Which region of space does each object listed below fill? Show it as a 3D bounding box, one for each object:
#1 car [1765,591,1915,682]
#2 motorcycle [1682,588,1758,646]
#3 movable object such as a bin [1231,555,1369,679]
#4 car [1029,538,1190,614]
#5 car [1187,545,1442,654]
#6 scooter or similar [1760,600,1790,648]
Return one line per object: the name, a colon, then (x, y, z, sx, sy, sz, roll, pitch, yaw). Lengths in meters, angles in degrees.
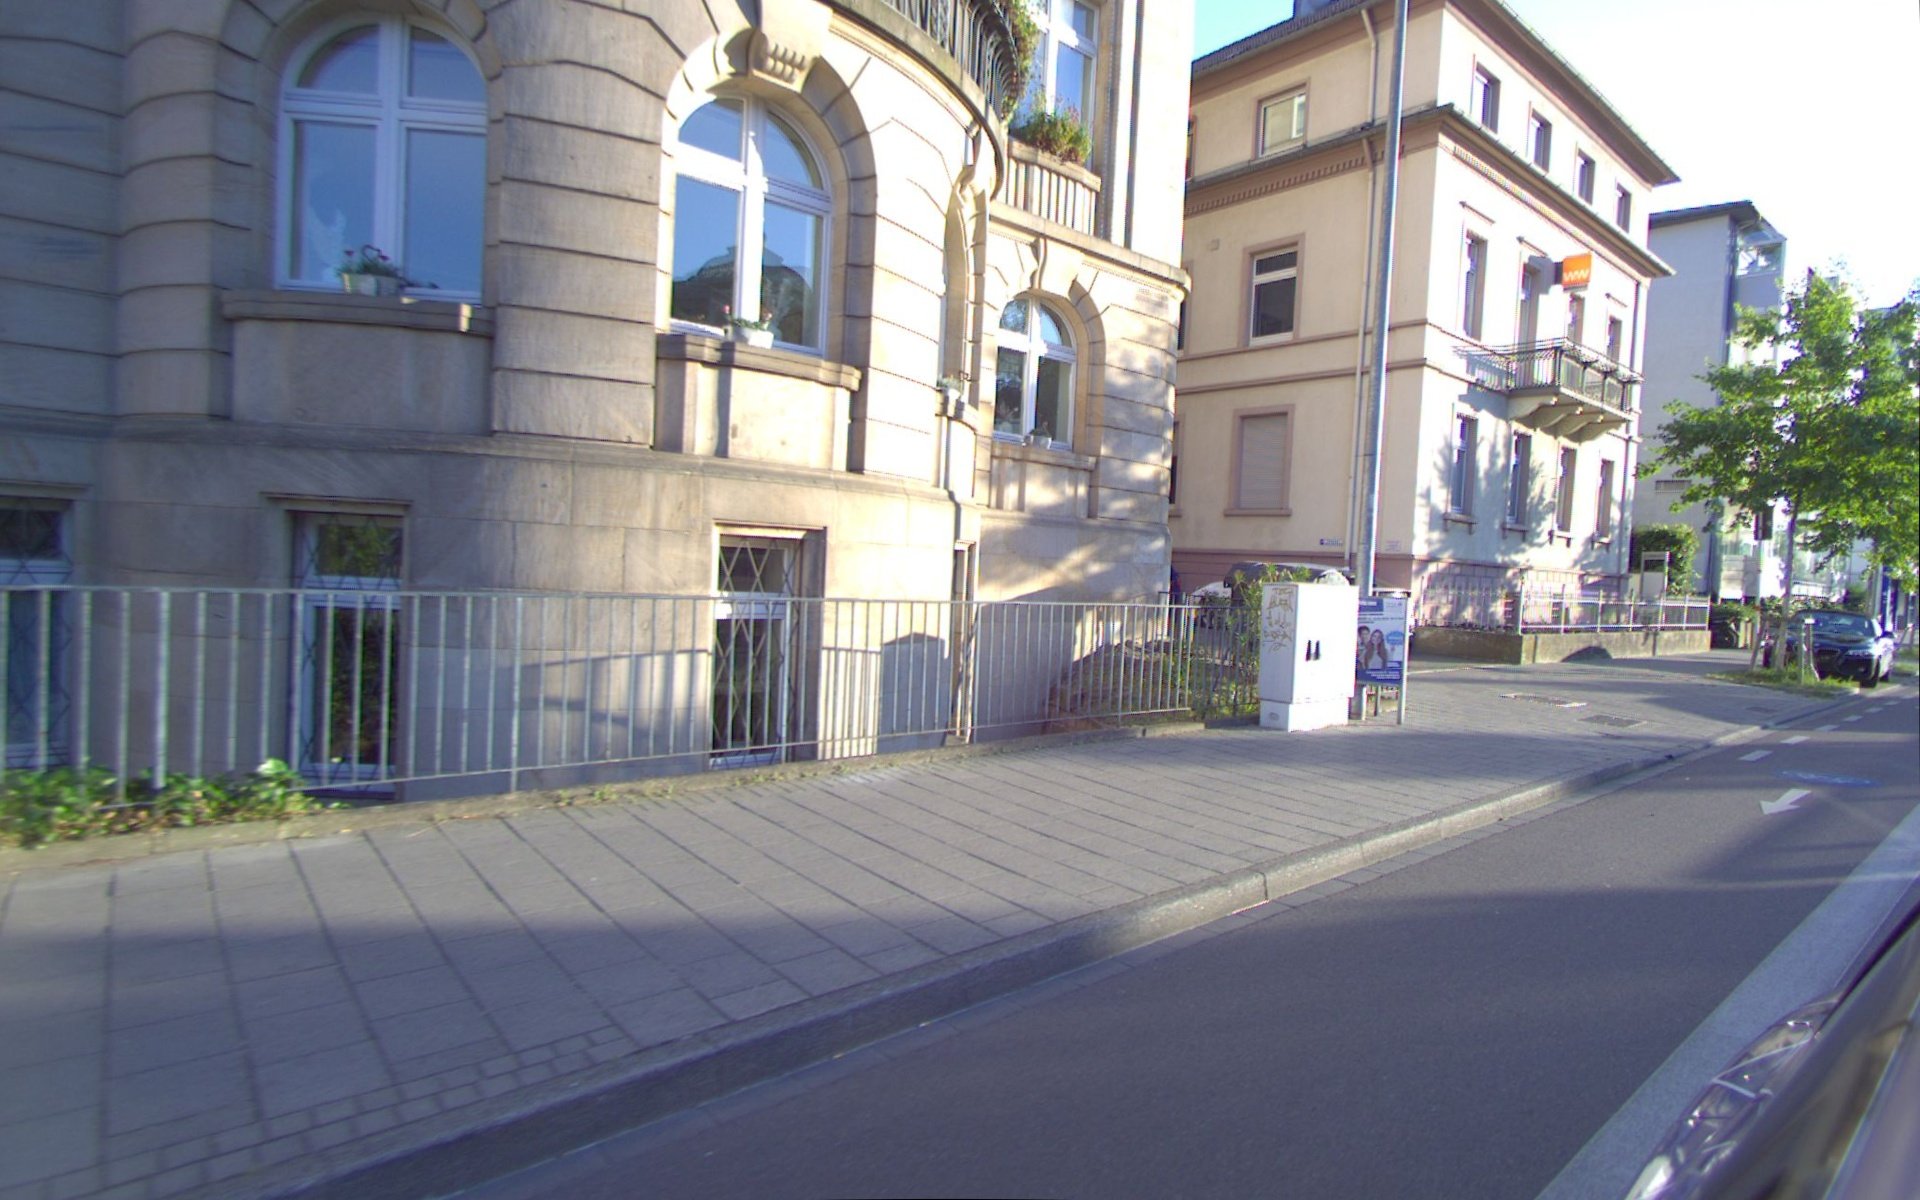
car: (17.927, 0.682, 20.542, 4.370, 1.488, 1.796, 1, 5, -44)
motorcycle: (20.919, 0.456, 27.867, 0.616, 1.430, 1.498, 3, 3, -44)
movable object such as a bin: (4.356, 0.189, 12.985, 1.105, 1.480, 1.261, 1, 1, -44)
car: (3.394, -0.586, 23.464, 1.470, 1.501, 3.559, 1, 4, -39)
car: (6.733, -0.087, 19.614, 1.881, 1.589, 4.211, 2, 5, -38)
scooter or similar: (22.595, 0.646, 28.054, 1.188, 1.274, 0.491, 0, 1, -44)
